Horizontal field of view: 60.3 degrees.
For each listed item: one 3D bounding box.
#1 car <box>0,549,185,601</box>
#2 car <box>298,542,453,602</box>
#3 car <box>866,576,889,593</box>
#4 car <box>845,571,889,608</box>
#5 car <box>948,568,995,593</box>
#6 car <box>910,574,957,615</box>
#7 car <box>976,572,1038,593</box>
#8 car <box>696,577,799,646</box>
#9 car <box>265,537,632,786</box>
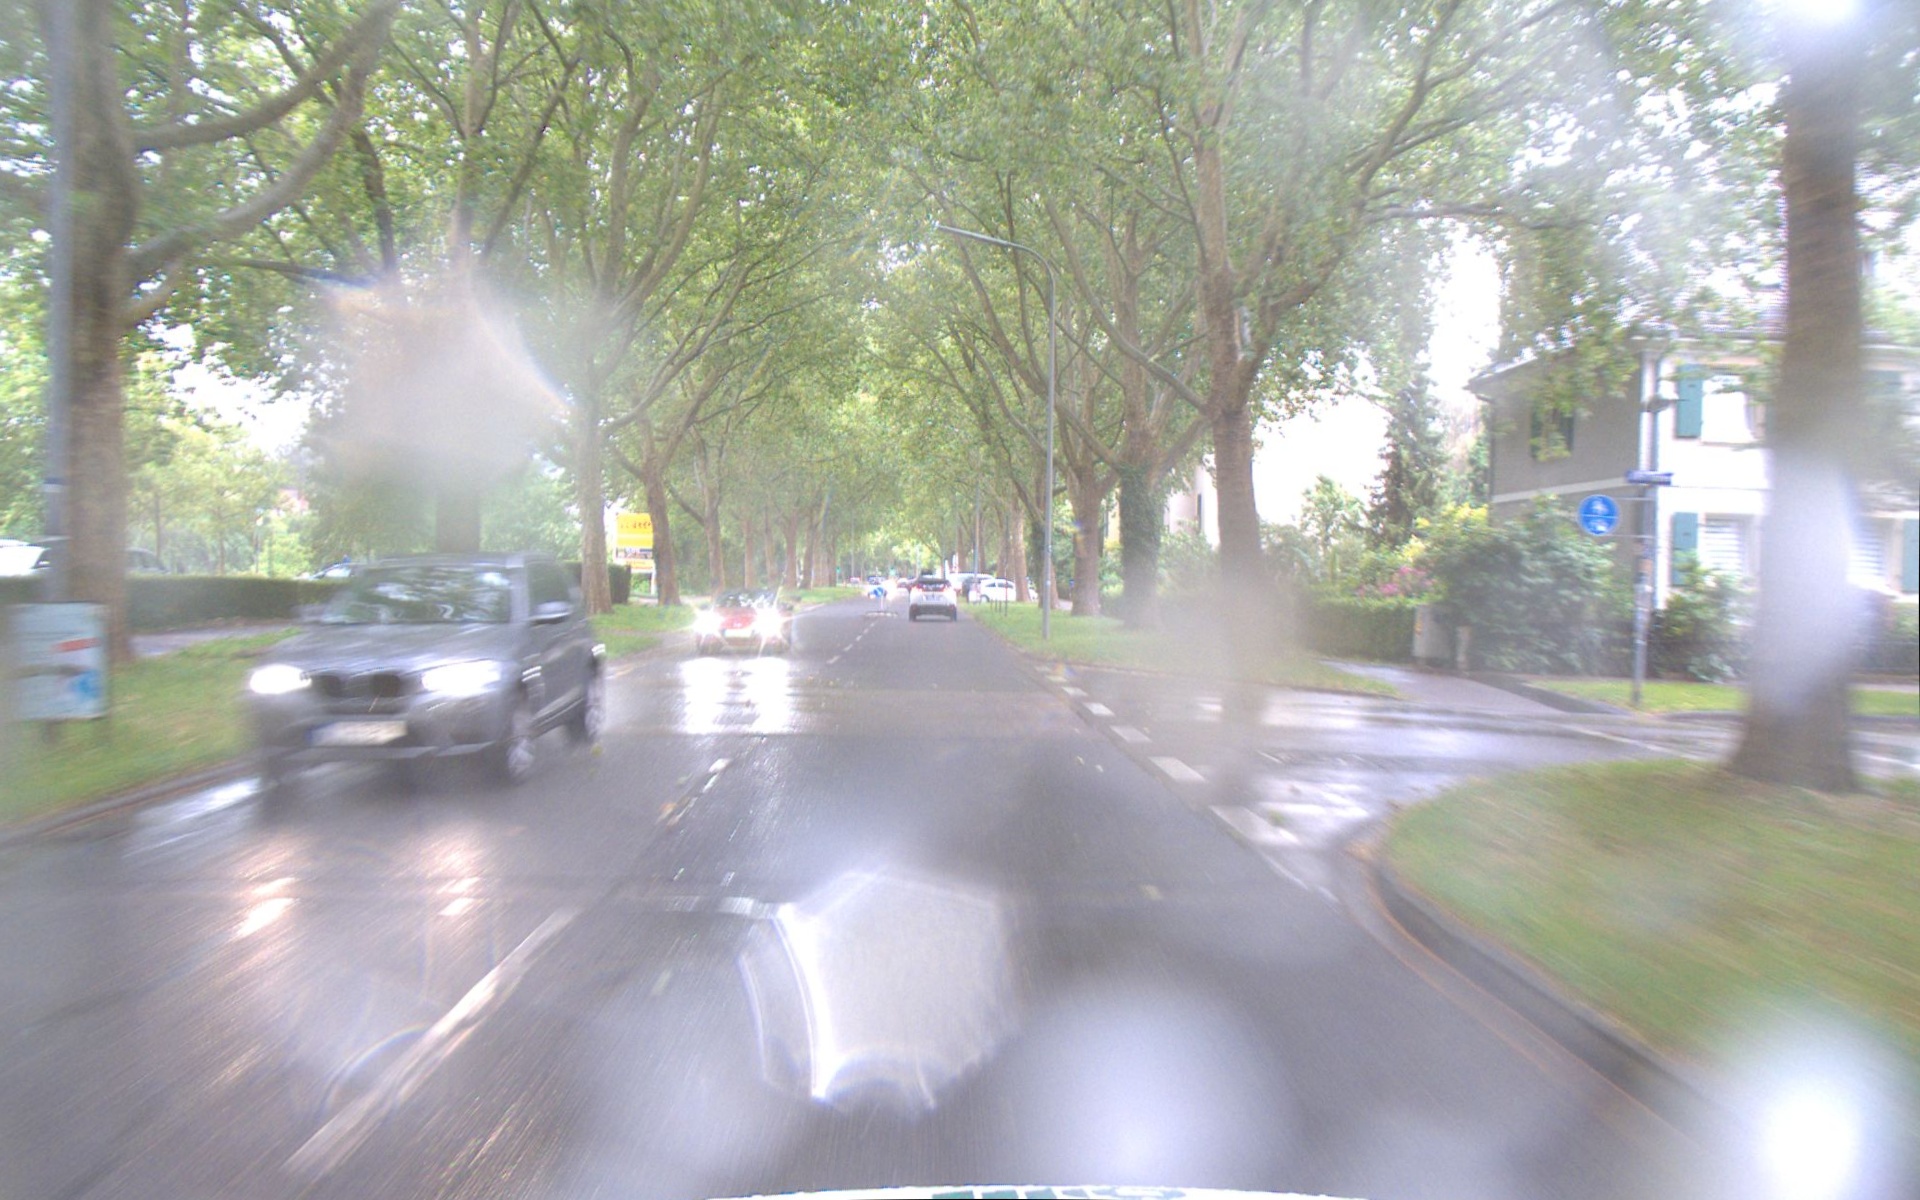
[{"bbox_3d":[-22.470,-0.646,42.722,3.907,1.154,2.000,2,1,-2],"label":"car"},{"bbox_3d":[-17.540,-0.842,49.772,3.906,1.651,2.000,1,1,-1],"label":"car"},{"bbox_3d":[-6.808,-1.250,136.106,1.685,1.276,4.000,2,1,-1],"label":"car"},{"bbox_3d":[-3.792,-0.455,68.156,1.671,1.436,3.644,0,1,-1],"label":"car"},{"bbox_3d":[0.846,-1.517,125.737,3.476,1.873,1.711,-1,1,-3],"label":"car"},{"bbox_3d":[-1.003,-0.242,61.091,1.671,1.436,3.644,0,1,-1],"label":"car"},{"bbox_3d":[2.773,-1.060,97.868,3.477,1.175,1.710,-1,1,-4],"label":"car"},{"bbox_3d":[-4.212,0.196,33.187,1.671,1.272,3.644,0,1,-1],"label":"car"},{"bbox_3d":[-3.981,0.379,13.687,1.773,1.713,4.447,0,1,-2],"label":"car"}]
